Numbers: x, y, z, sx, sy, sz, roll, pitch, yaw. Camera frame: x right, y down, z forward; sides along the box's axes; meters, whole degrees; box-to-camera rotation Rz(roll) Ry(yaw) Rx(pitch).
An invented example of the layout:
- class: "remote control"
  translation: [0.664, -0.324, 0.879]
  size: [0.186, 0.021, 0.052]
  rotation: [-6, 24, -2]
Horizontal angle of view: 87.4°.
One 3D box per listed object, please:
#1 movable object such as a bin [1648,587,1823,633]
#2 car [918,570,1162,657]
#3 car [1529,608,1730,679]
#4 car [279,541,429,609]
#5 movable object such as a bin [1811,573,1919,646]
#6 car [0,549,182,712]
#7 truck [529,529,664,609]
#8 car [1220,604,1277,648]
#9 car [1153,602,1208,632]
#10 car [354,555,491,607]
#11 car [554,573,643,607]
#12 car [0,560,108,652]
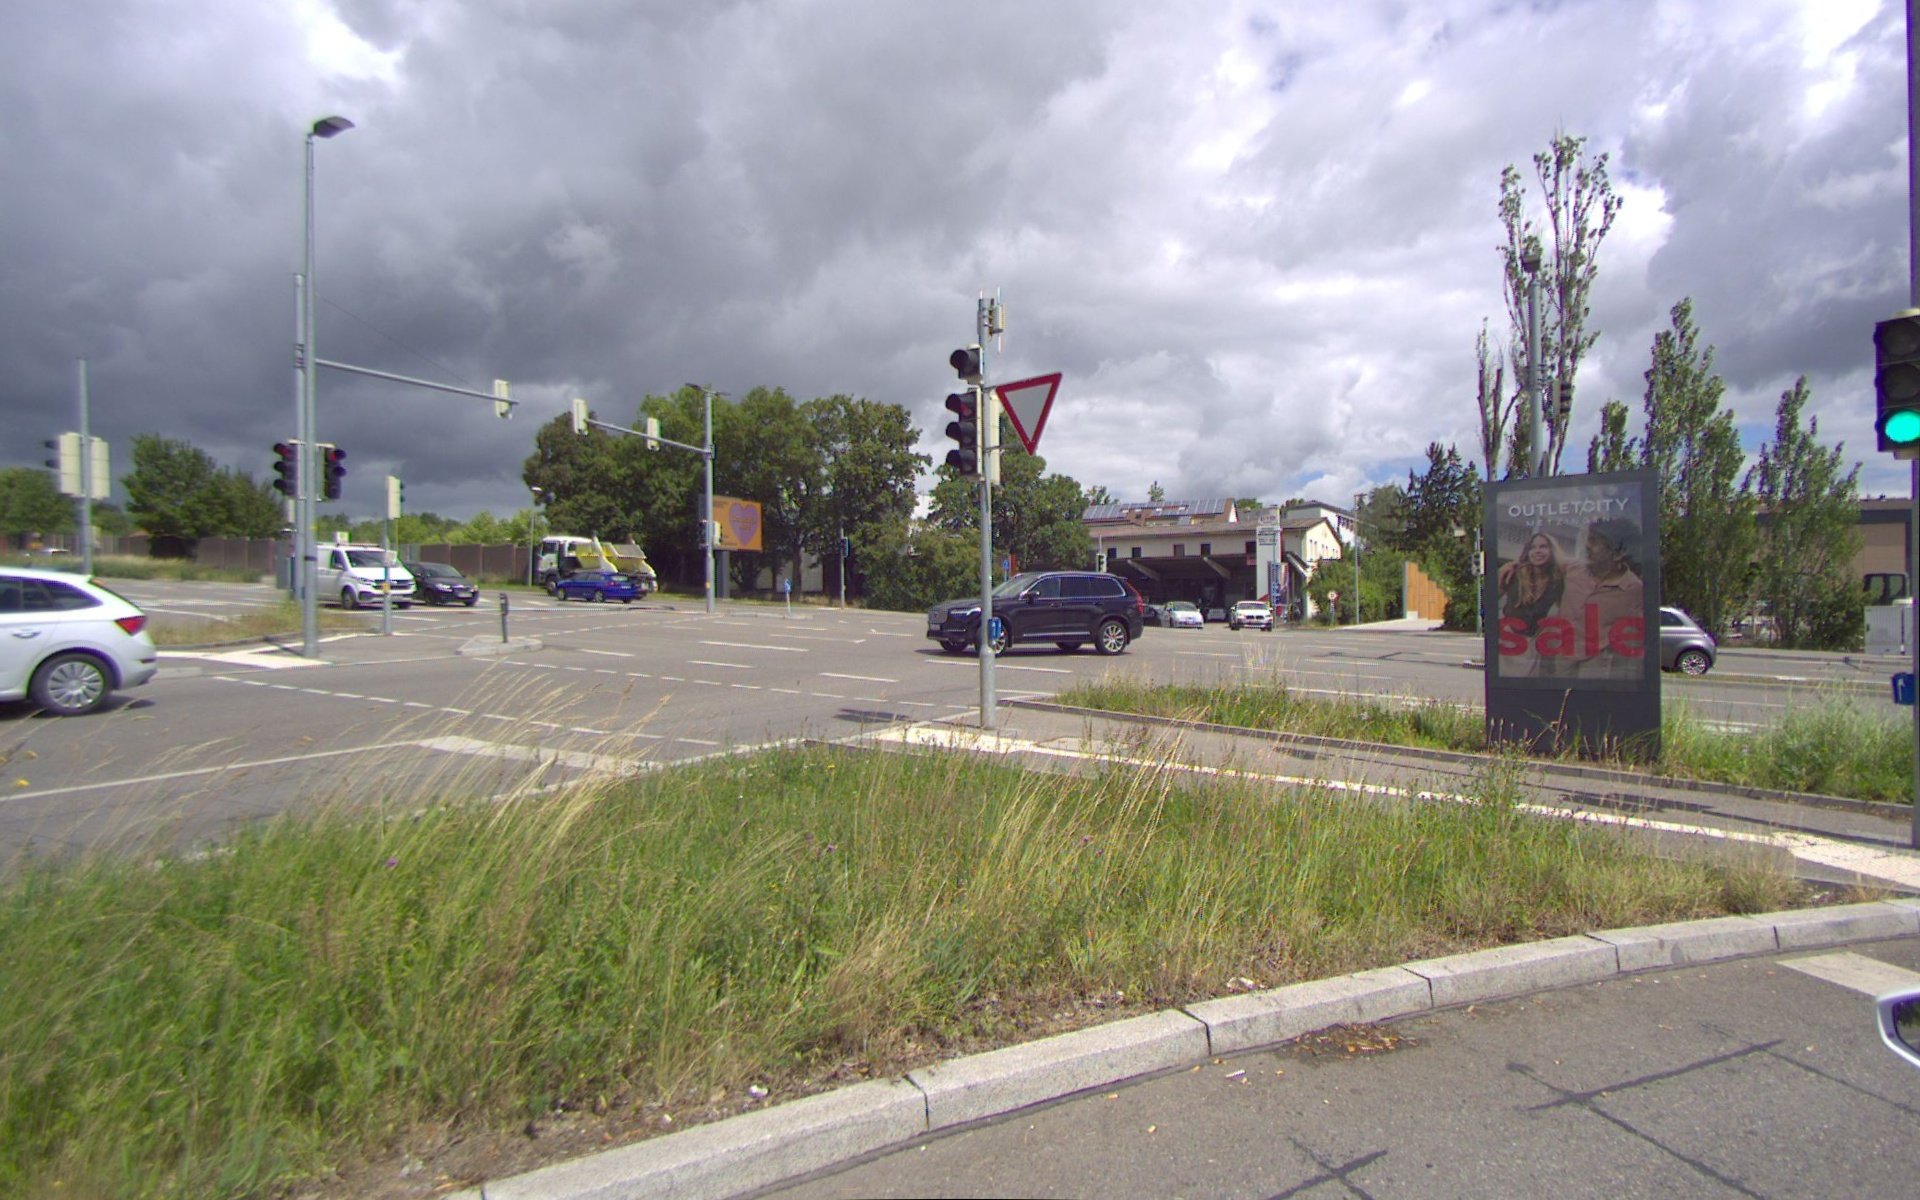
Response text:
- class: "movable object such as a bin"
  translation: [39.620, 0.553, 51.508]
  size: [2.281, 2.040, 6.854]
  rotation: [0, -2, -45]
- class: "car"
  translation: [1.743, 0.295, 21.676]
  size: [4.914, 1.712, 1.899]
  rotation: [1, 1, -25]
- class: "car"
  translation: [14.853, 0.977, 22.497]
  size: [3.457, 1.480, 1.584]
  rotation: [-2, -1, 24]
- class: "car"
  translation: [-19.406, -0.823, 32.115]
  size: [4.880, 1.963, 1.908]
  rotation: [3, 2, 29]
- class: "movable object such as a bin"
  translation: [33.842, 0.332, 37.056]
  size: [2.136, 2.572, 3.374]
  rotation: [1, 1, -40]
- class: "car"
  translation: [-9.904, 0.258, 8.999]
  size: [1.593, 1.489, 4.369]
  rotation: [3, 2, 30]
- class: "truck"
  translation: [-18.927, -1.507, 52.145]
  size: [6.846, 3.626, 2.841]
  rotation: [-3, -2, 31]
- class: "car"
  translation: [14.452, 1.302, 50.537]
  size: [1.960, 2.040, 4.003]
  rotation: [-2, -2, 6]
- class: "car"
  translation: [11.330, 0.852, 51.864]
  size: [1.664, 1.419, 3.997]
  rotation: [1, 0, -4]
- class: "car"
  translation: [-19.060, -0.685, 35.568]
  size: [4.880, 1.657, 1.908]
  rotation: [3, 2, 29]
- class: "car"
  translation: [-16.506, -0.464, 45.864]
  size: [3.929, 1.419, 1.693]
  rotation: [2, 0, 31]
- class: "car"
  translation: [-18.866, 0.051, 20.314]
  size: [1.890, 1.659, 4.407]
  rotation: [1, 2, -33]
